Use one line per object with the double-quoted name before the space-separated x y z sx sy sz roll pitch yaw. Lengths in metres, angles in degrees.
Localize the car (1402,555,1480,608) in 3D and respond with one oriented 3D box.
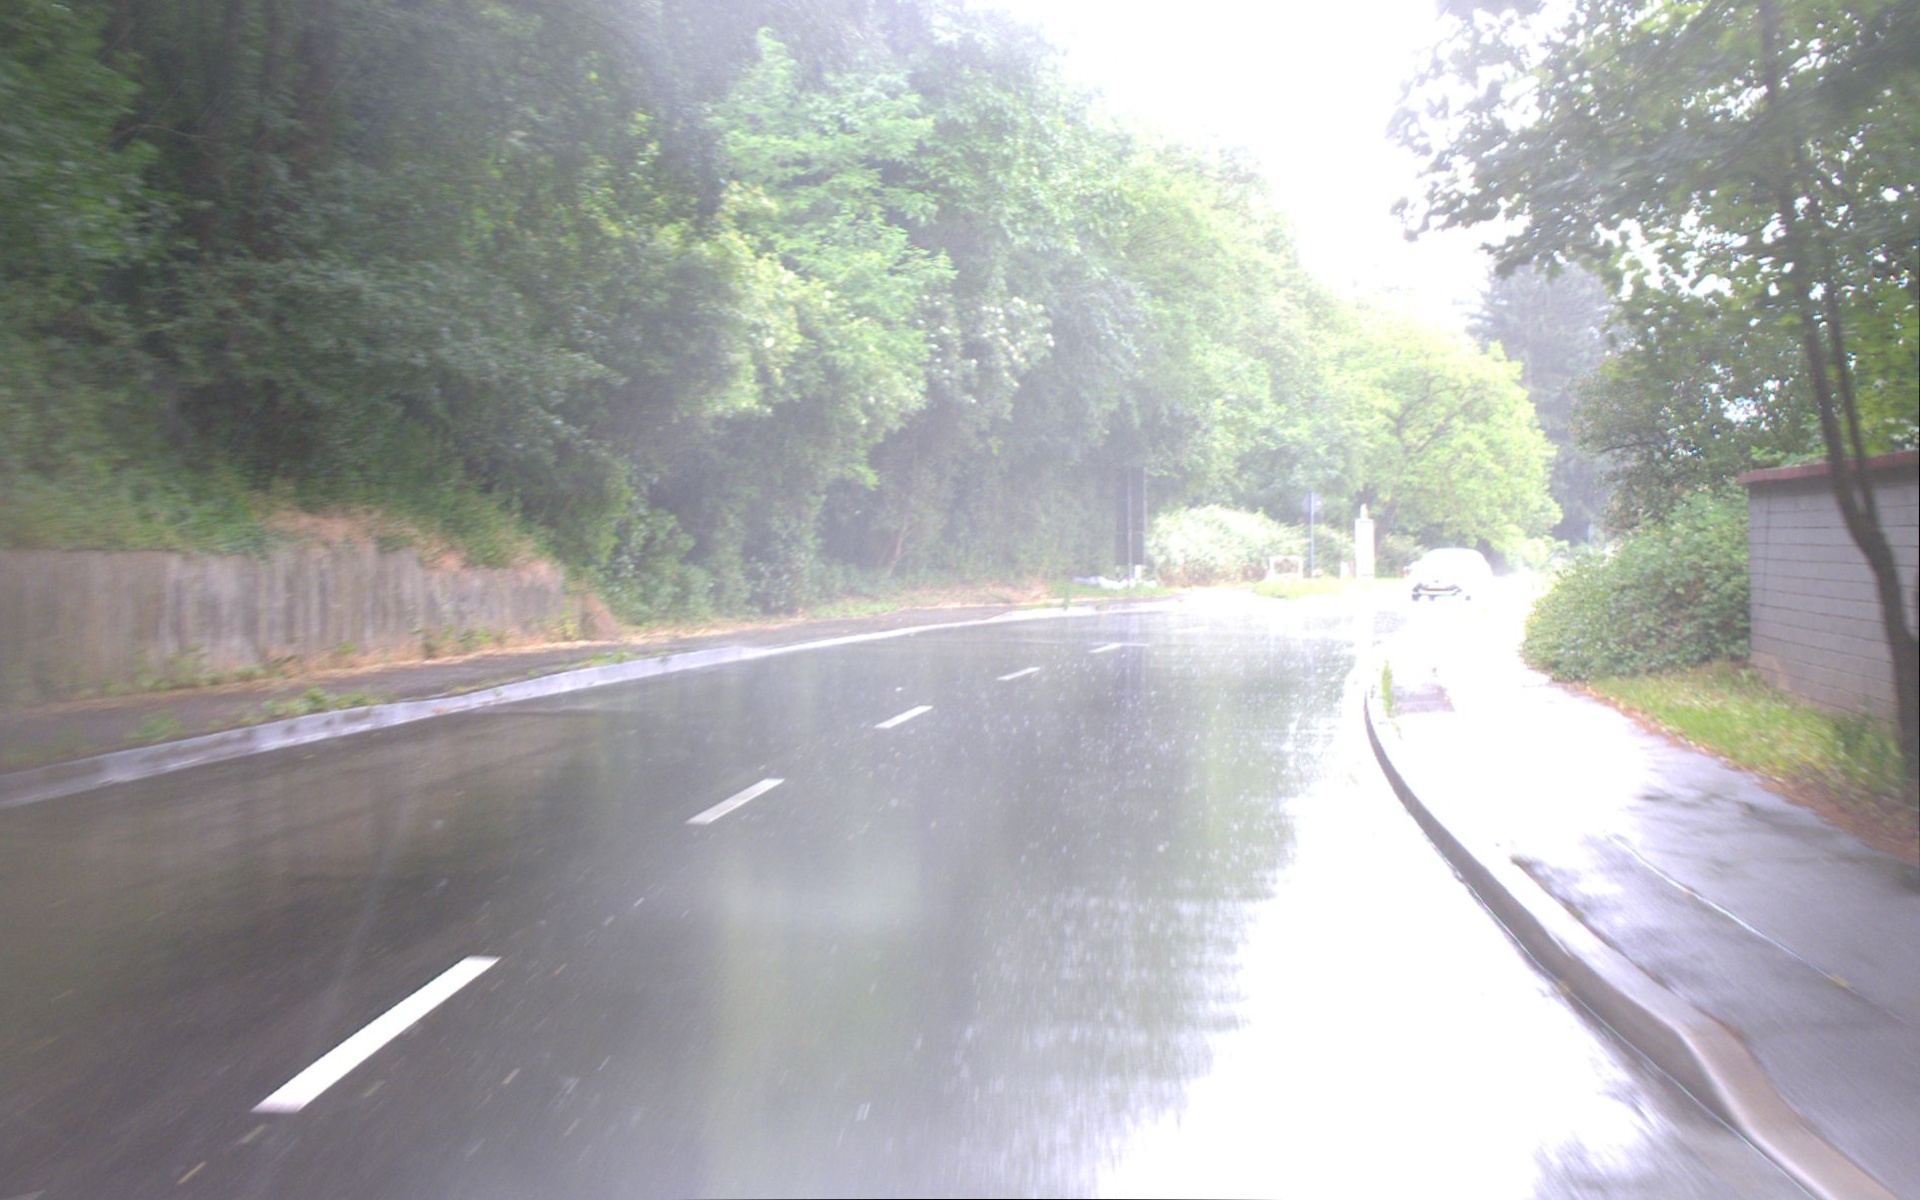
"car" 13.691 -0.550 97.696 1.787 1.414 4.631 1 1 13
